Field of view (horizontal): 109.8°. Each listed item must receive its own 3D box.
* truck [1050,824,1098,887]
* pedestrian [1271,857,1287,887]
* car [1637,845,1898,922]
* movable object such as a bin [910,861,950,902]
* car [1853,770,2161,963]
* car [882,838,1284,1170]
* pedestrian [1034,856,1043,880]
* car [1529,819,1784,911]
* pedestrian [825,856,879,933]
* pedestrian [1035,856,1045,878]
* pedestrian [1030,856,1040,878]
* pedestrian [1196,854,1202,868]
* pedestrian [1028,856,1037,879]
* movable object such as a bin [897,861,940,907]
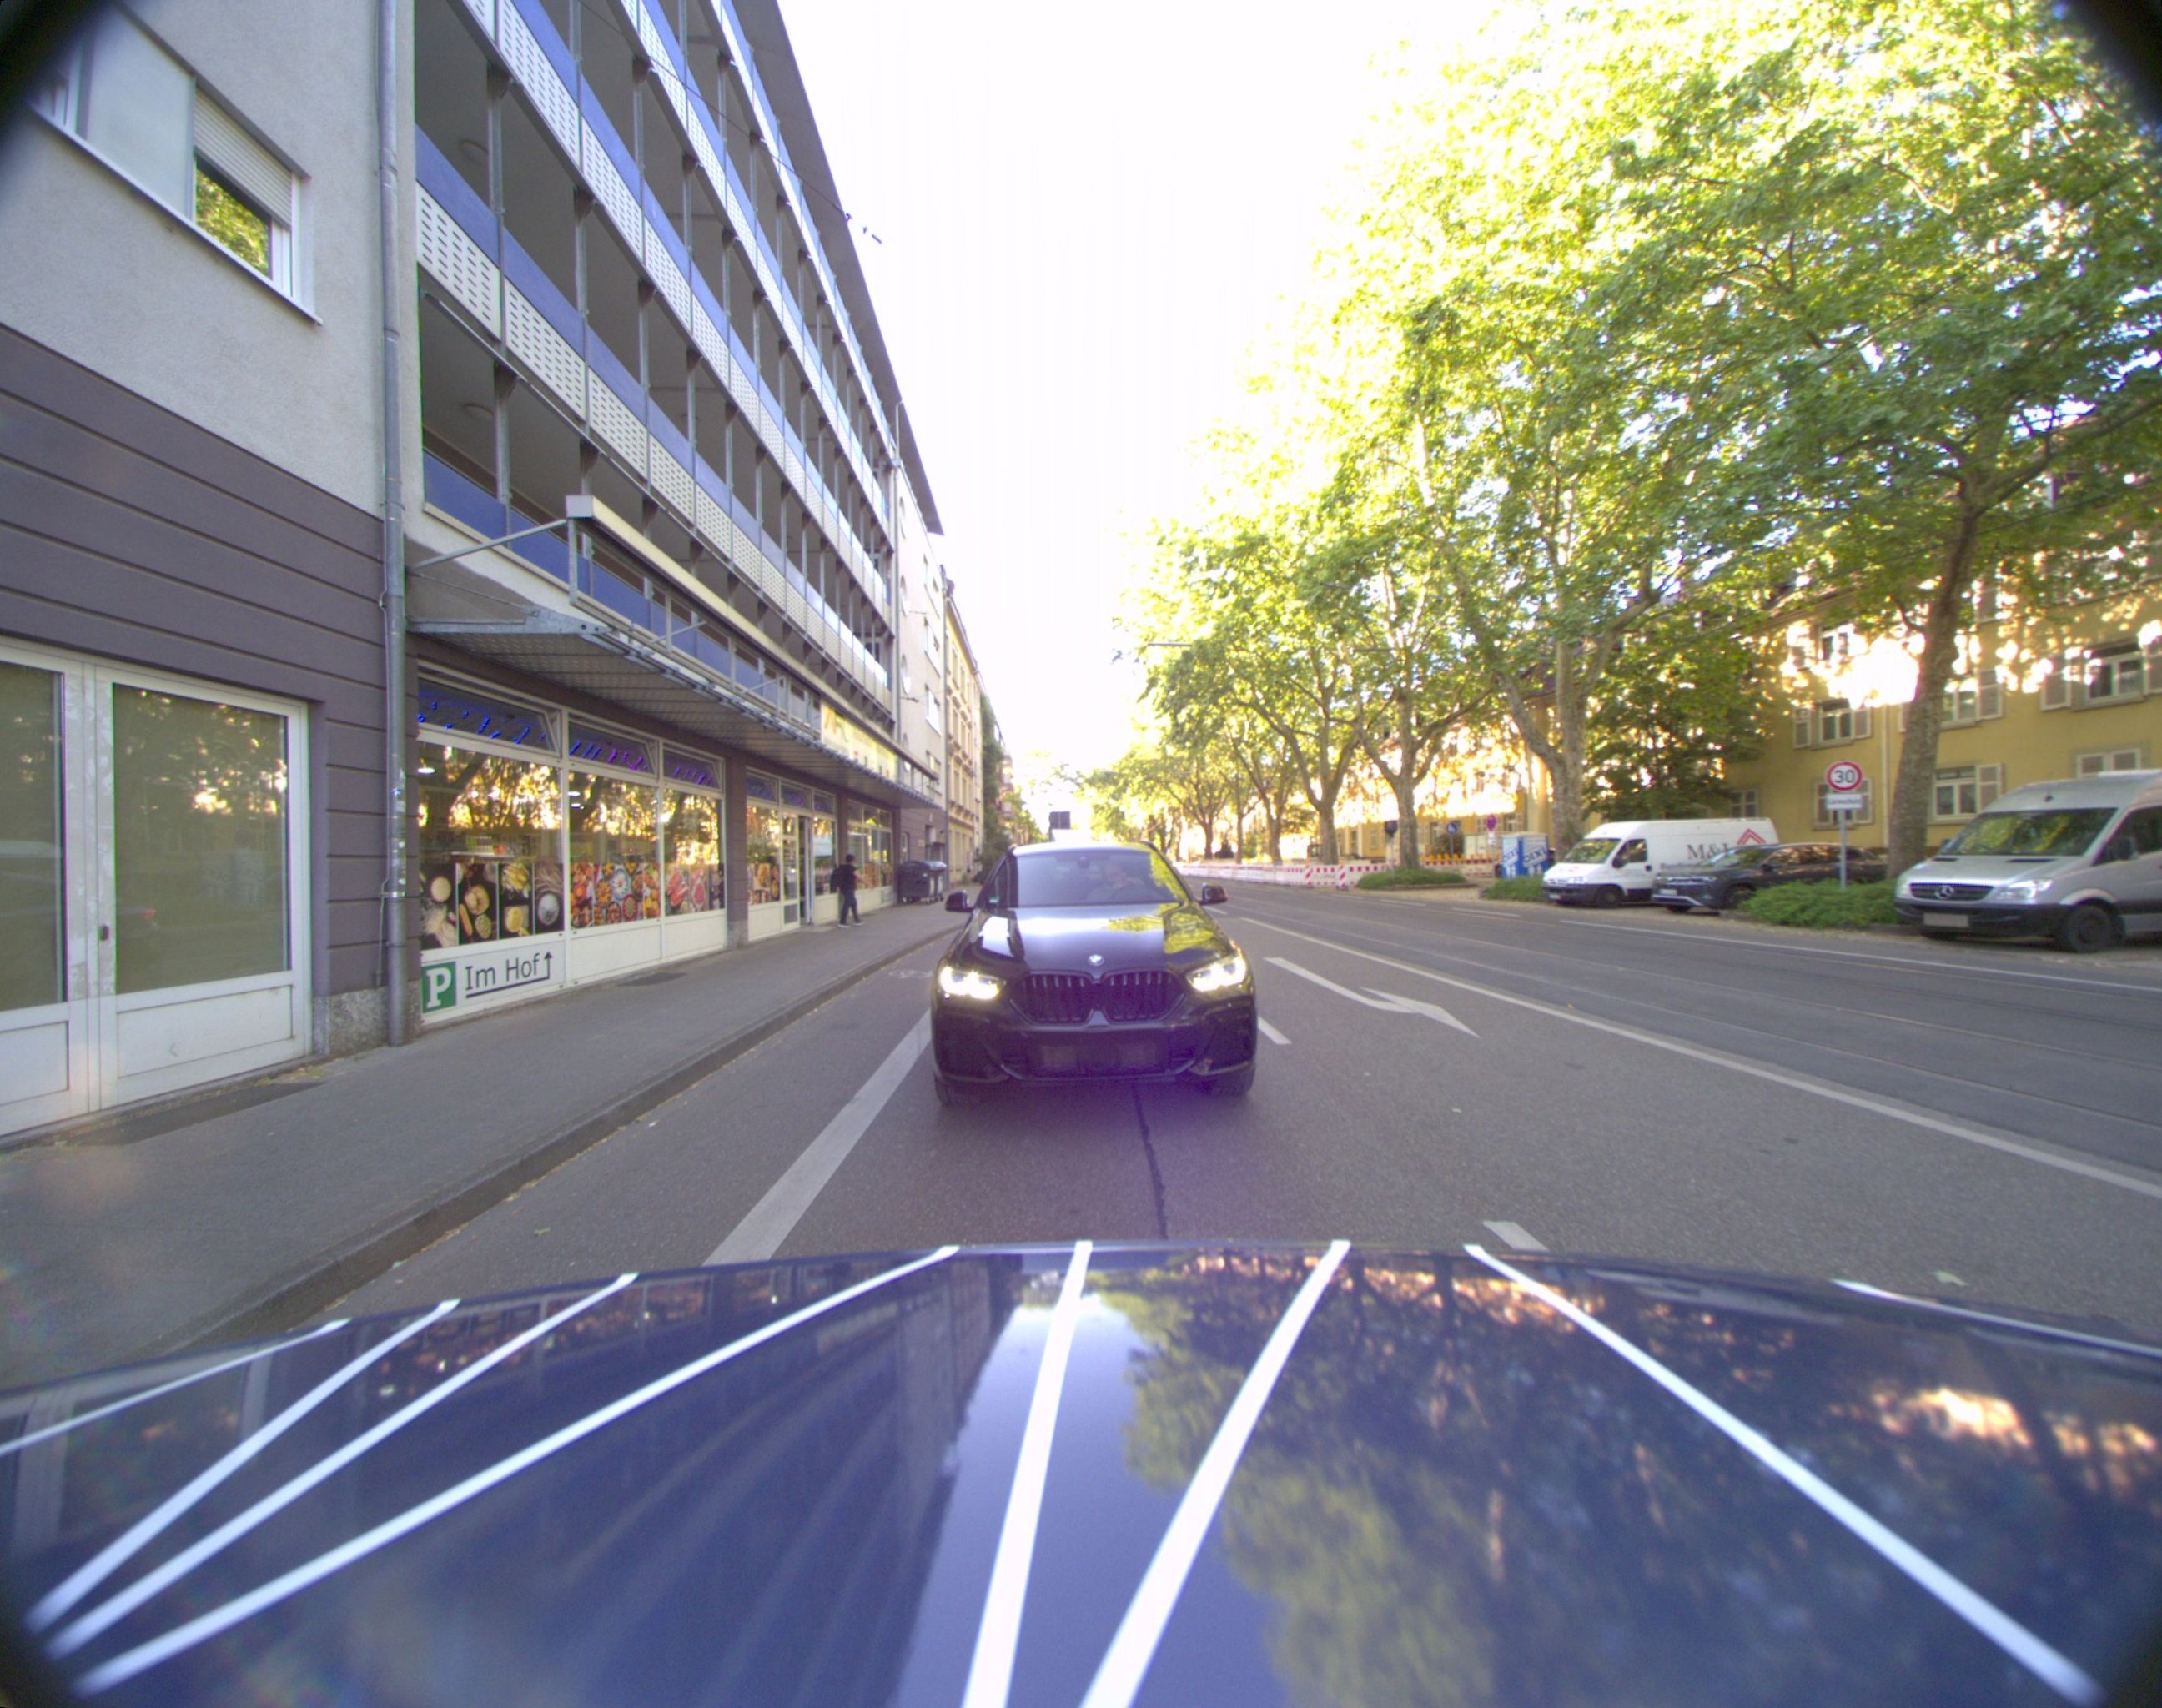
[{"bbox_3d":[-0.319,0.124,42.214,2.394,3.170,6.587,-1,0,1],"label":"truck"},{"bbox_3d":[11.679,1.073,44.807,0.652,1.735,0.582,-2,1,-8],"label":"pedestrian"},{"bbox_3d":[16.074,0.661,17.941,4.627,1.642,1.774,-1,0,-2],"label":"car"},{"bbox_3d":[-5.288,0.955,26.685,1.158,1.418,0.939,-1,0,1],"label":"movable object such as a bin"},{"bbox_3d":[15.980,0.132,11.859,5.666,2.666,2.223,-2,0,-2],"label":"car"},{"bbox_3d":[0.036,0.767,5.974,1.998,1.643,4.295,-1,0,1],"label":"car"},{"bbox_3d":[-3.434,1.118,61.453,0.600,1.875,0.581,-2,1,-1],"label":"pedestrian"},{"bbox_3d":[15.840,0.293,21.148,5.404,2.362,2.223,-1,0,0],"label":"car"},{"bbox_3d":[-4.804,0.832,15.967,0.863,1.582,0.623,-1,0,9],"label":"pedestrian"},{"bbox_3d":[-3.513,1.087,64.653,0.733,1.875,0.664,-2,1,-1],"label":"pedestrian"},{"bbox_3d":[-3.975,1.096,65.292,0.733,1.875,0.664,-2,1,-1],"label":"pedestrian"},{"bbox_3d":[16.307,0.934,104.657,0.732,1.875,0.665,-2,1,8],"label":"pedestrian"},{"bbox_3d":[-4.060,1.119,63.488,0.600,1.875,0.581,-2,1,-1],"label":"pedestrian"},{"bbox_3d":[-5.247,0.958,24.647,1.158,1.418,0.939,-1,0,1],"label":"movable object such as a bin"}]
